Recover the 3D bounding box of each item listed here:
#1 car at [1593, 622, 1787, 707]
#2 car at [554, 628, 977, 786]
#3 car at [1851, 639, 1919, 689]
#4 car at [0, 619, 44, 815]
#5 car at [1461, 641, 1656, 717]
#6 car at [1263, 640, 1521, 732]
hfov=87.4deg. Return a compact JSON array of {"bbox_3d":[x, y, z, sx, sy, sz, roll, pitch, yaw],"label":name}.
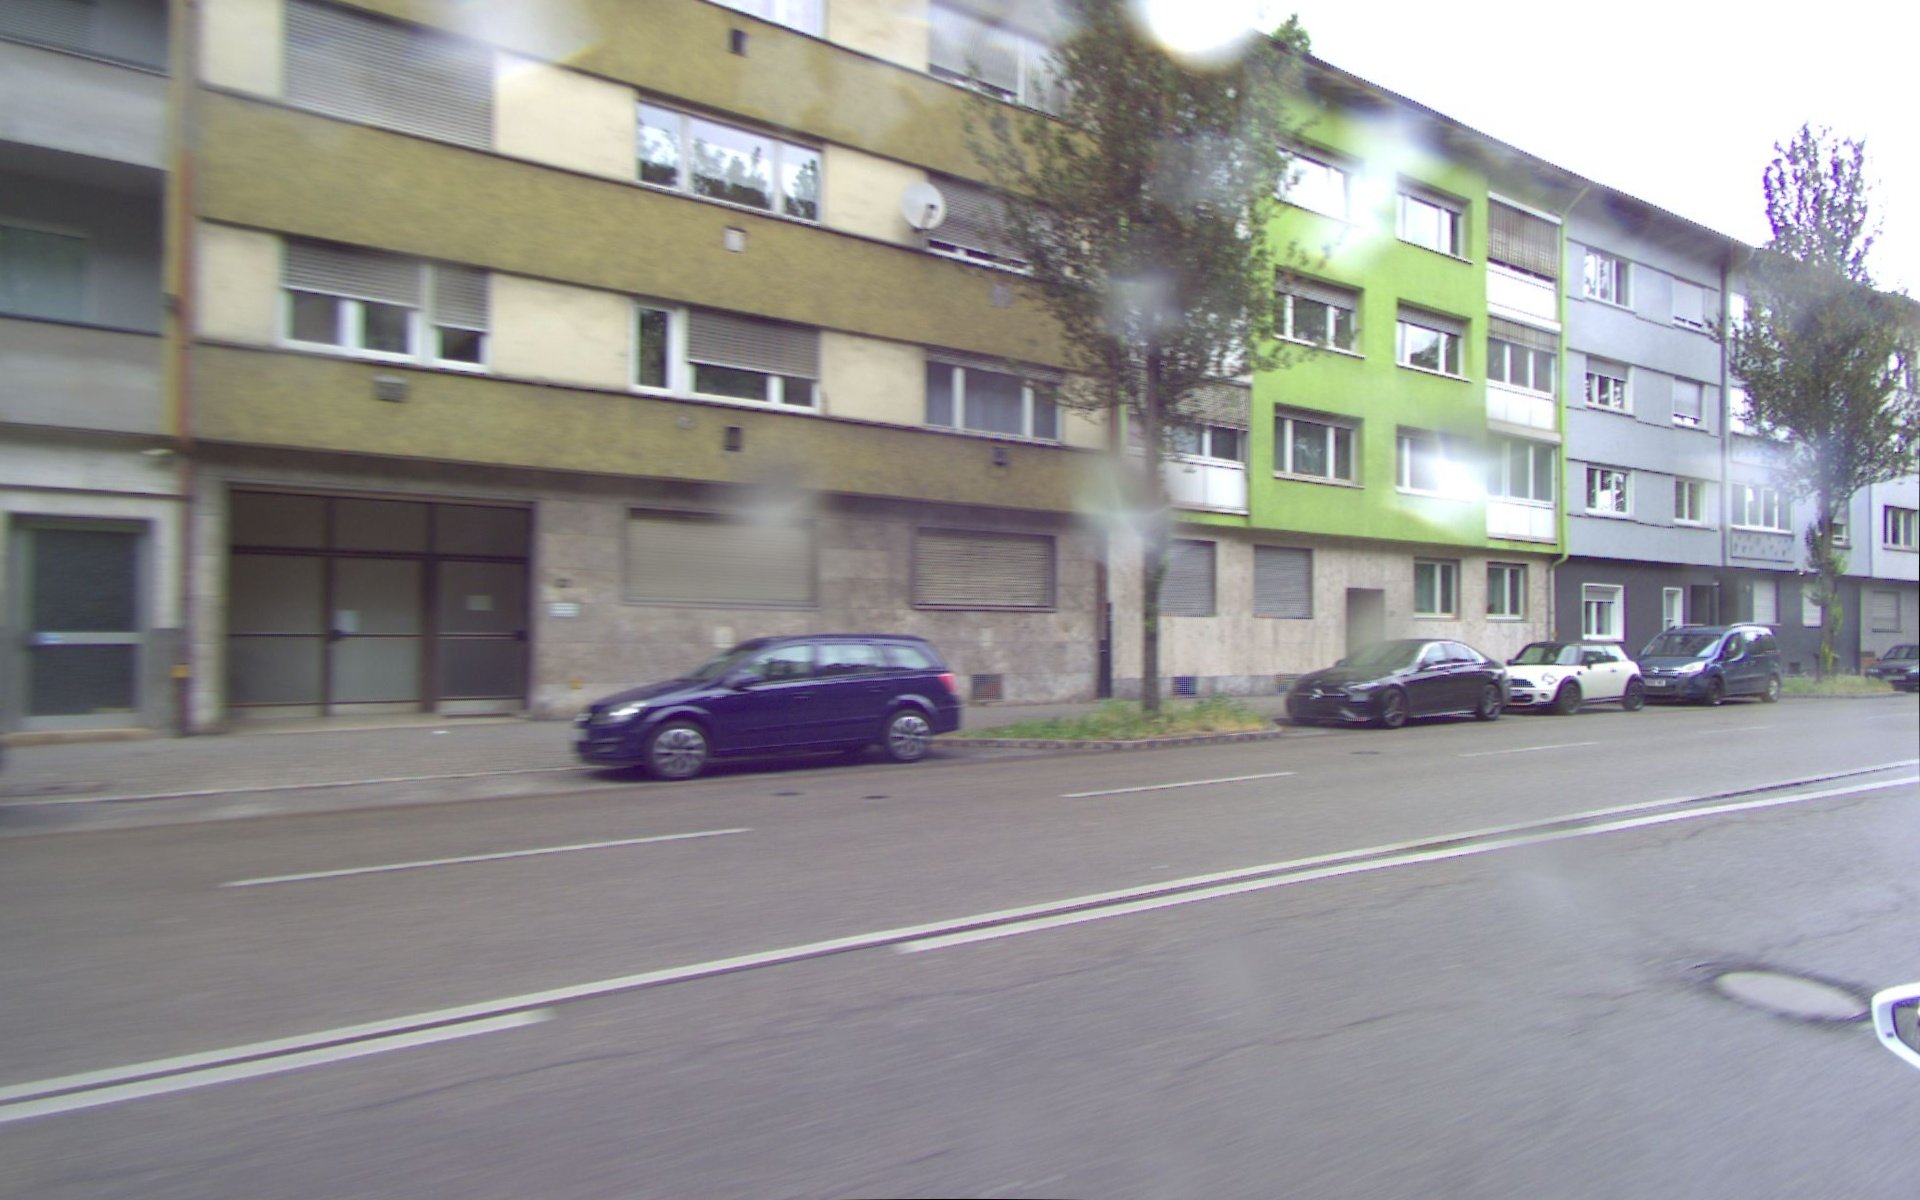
[{"bbox_3d":[16.775,1.443,23.045,4.545,1.789,1.883,1,-3,-30],"label":"car"},{"bbox_3d":[-2.136,1.101,11.506,4.464,1.508,1.710,1,-3,-32],"label":"car"},{"bbox_3d":[28.230,1.861,29.496,4.524,1.375,1.681,1,-5,-30],"label":"car"},{"bbox_3d":[-9.567,0.881,6.758,4.738,1.508,1.807,1,-4,-33],"label":"car"},{"bbox_3d":[12.062,1.544,20.209,3.954,1.394,1.672,1,-4,-31],"label":"car"},{"bbox_3d":[7.520,1.410,17.337,4.630,1.390,1.807,1,-4,-33],"label":"car"}]
